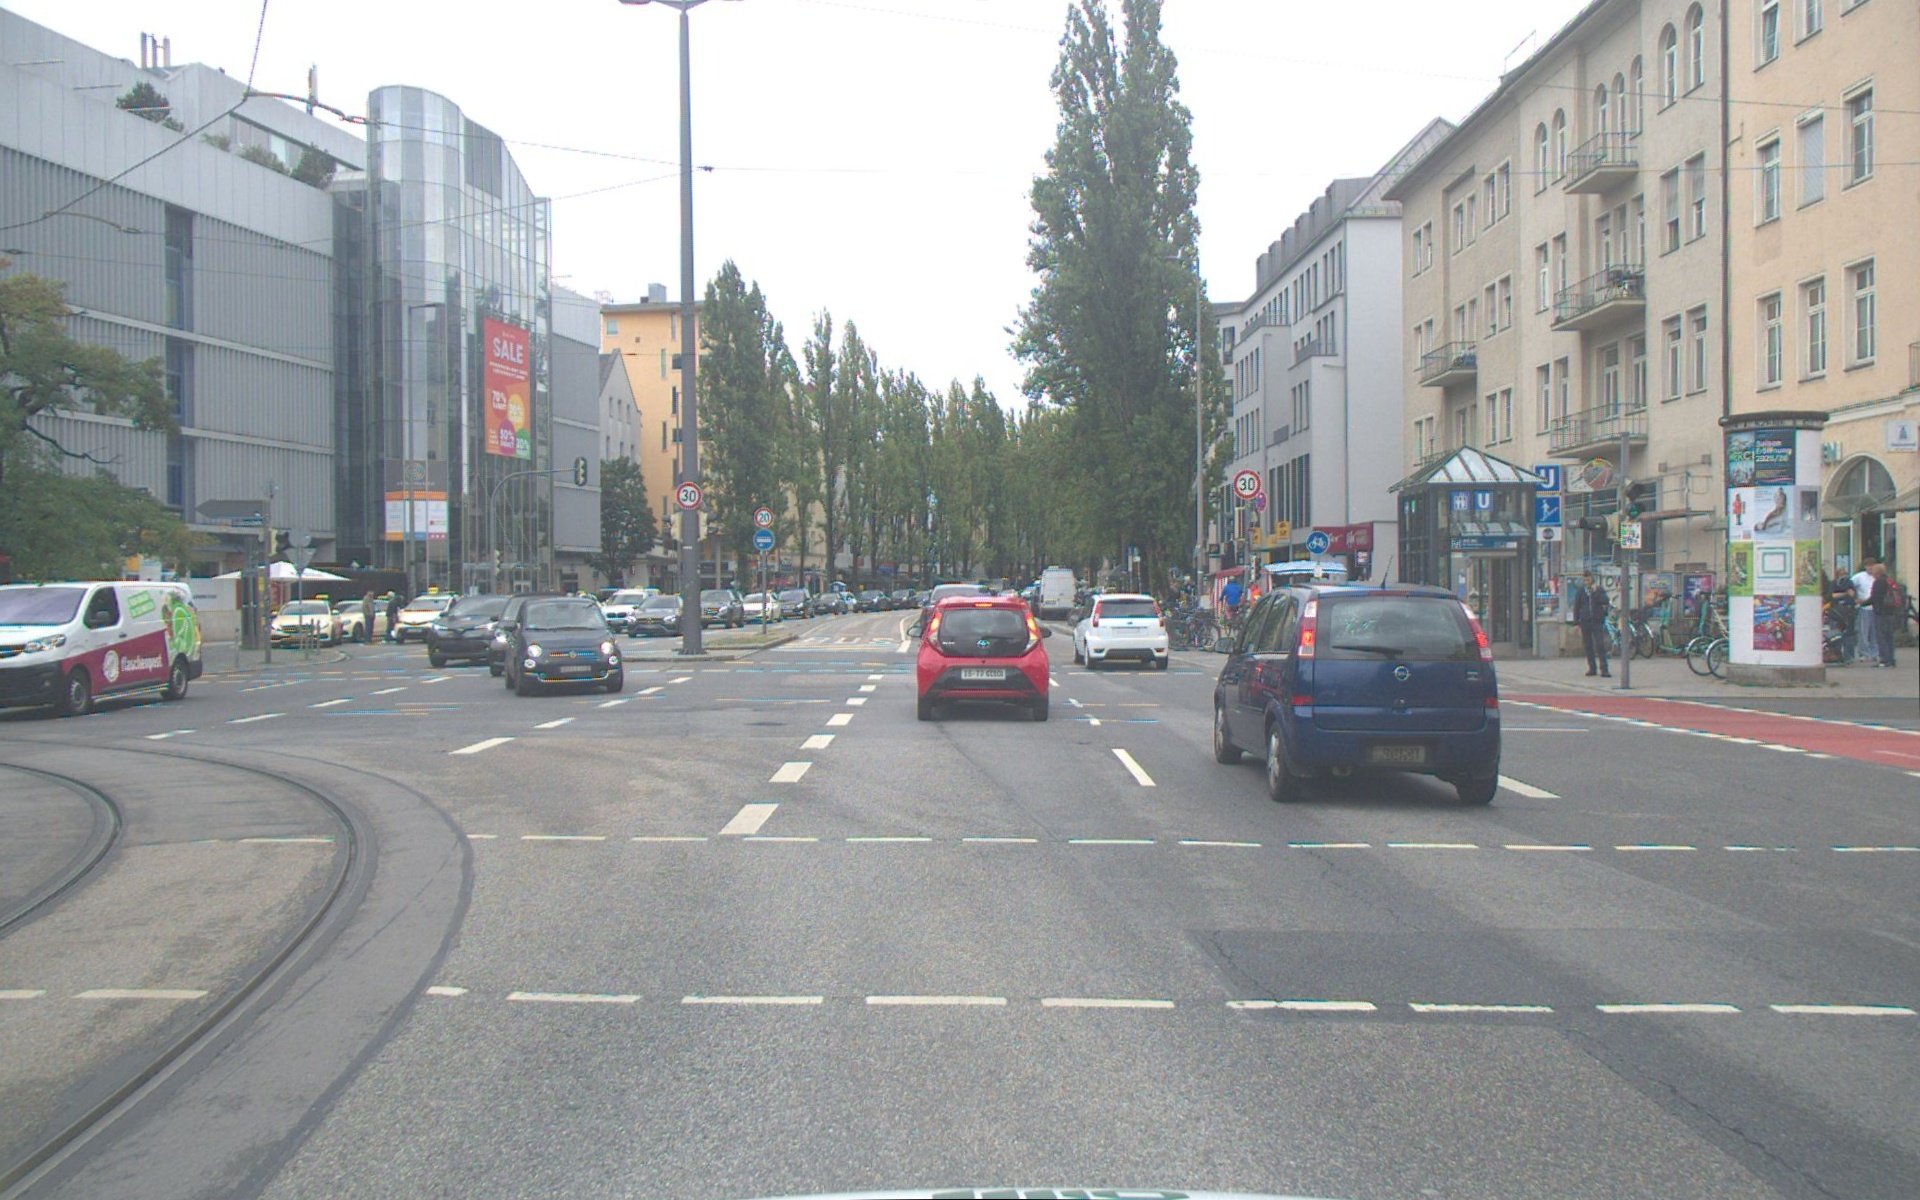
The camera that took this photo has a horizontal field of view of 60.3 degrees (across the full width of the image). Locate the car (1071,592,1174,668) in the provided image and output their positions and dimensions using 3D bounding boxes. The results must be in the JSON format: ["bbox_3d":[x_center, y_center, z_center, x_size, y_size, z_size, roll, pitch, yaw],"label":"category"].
[{"bbox_3d":[3.244,0.575,33.585,1.665,1.451,3.496,-1,0,-1],"label":"car"}]

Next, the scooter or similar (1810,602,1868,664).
[{"bbox_3d":[15.160,0.559,28.538,0.803,1.011,0.593,0,4,22],"label":"scooter or similar"}]

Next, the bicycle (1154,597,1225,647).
[{"bbox_3d":[5.774,0.549,41.627,1.773,1.219,0.555,0,1,43],"label":"bicycle"}]

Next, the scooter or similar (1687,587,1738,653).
[{"bbox_3d":[14.488,0.373,31.870,0.282,1.249,1.152,-1,0,-10],"label":"scooter or similar"}]

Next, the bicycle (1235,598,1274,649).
[{"bbox_3d":[7.906,0.612,44.511,0.601,1.287,2.519,-1,1,0],"label":"bicycle"}]

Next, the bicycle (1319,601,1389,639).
[{"bbox_3d":[10.396,0.527,43.689,1.718,0.981,0.453,-1,0,0],"label":"bicycle"}]

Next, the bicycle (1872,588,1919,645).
[{"bbox_3d":[18.772,0.314,32.505,0.485,1.108,1.864,-1,0,-6],"label":"bicycle"}]

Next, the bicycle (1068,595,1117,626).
[{"bbox_3d":[5.034,0.379,62.698,1.801,1.156,0.584,0,0,36],"label":"bicycle"}]

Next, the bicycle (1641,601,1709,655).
[{"bbox_3d":[13.852,0.525,32.085,0.484,0.992,1.866,-1,0,-1],"label":"bicycle"}]

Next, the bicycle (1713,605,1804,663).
[{"bbox_3d":[15.586,0.648,32.320,0.486,1.077,1.858,-1,0,-15],"label":"bicycle"}]

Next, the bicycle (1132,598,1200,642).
[{"bbox_3d":[5.625,0.535,45.171,1.765,1.178,0.486,0,0,29],"label":"bicycle"}]

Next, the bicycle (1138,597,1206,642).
[{"bbox_3d":[5.699,0.518,44.511,1.763,1.178,0.486,0,0,26],"label":"bicycle"}]

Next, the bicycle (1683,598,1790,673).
[{"bbox_3d":[12.943,0.587,27.587,1.536,1.180,0.525,-2,2,2],"label":"bicycle"}]

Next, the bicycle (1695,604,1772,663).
[{"bbox_3d":[14.987,0.634,32.086,0.485,1.077,1.864,-1,0,-5],"label":"bicycle"}]

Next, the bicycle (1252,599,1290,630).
[{"bbox_3d":[10.049,0.458,53.479,1.157,0.980,0.369,-1,0,-3],"label":"bicycle"}]

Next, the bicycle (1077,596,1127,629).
[{"bbox_3d":[5.133,0.455,59.773,1.805,1.156,0.583,0,1,42],"label":"bicycle"}]

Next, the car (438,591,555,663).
[{"bbox_3d":[-10.580,0.569,38.024,1.631,1.535,4.280,-1,0,-2],"label":"car"}]

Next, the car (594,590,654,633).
[{"bbox_3d":[-13.220,0.441,65.267,1.664,1.624,3.999,-1,0,-2],"label":"car"}]

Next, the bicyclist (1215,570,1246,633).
[{"bbox_3d":[8.278,0.046,50.605,0.747,1.902,1.133,-1,0,0],"label":"bicyclist"}]

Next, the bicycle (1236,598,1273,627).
[{"bbox_3d":[10.056,0.418,56.498,1.208,0.980,0.367,-1,0,-23],"label":"bicycle"}]

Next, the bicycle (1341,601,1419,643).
[{"bbox_3d":[10.381,0.546,40.885,1.801,0.981,0.508,-1,0,-2],"label":"bicycle"}]

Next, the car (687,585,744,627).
[{"bbox_3d":[-10.440,0.217,70.890,1.707,1.699,4.732,-1,1,0],"label":"car"}]

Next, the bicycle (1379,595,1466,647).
[{"bbox_3d":[10.406,0.464,37.217,1.801,1.113,0.508,-1,0,-2],"label":"bicycle"}]

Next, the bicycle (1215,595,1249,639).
[{"bbox_3d":[8.290,0.500,50.427,0.601,1.287,2.519,-1,1,0],"label":"bicycle"}]

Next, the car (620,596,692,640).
[{"bbox_3d":[-10.751,0.619,58.691,1.954,1.436,4.165,1,1,-3],"label":"car"}]

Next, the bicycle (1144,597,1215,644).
[{"bbox_3d":[5.701,0.526,43.019,1.769,1.178,0.546,0,0,38],"label":"bicycle"}]

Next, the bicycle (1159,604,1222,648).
[{"bbox_3d":[5.702,0.636,40.966,0.495,1.046,1.576,-1,1,-42],"label":"bicycle"}]

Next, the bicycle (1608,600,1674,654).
[{"bbox_3d":[13.187,0.507,32.072,0.484,0.992,1.866,-1,0,-1],"label":"bicycle"}]

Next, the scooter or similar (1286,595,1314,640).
[{"bbox_3d":[9.217,0.462,44.835,0.357,1.196,1.345,-1,0,29],"label":"scooter or similar"}]

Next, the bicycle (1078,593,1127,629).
[{"bbox_3d":[5.215,0.399,60.441,1.805,1.263,0.583,0,1,42],"label":"bicycle"}]

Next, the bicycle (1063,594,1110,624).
[{"bbox_3d":[5.009,0.362,65.427,1.801,1.156,0.584,0,0,36],"label":"bicycle"}]

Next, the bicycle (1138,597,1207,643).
[{"bbox_3d":[5.605,0.520,43.700,1.769,1.178,0.546,0,0,38],"label":"bicycle"}]

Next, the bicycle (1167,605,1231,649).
[{"bbox_3d":[5.787,0.646,40.111,0.495,1.046,1.576,-1,1,-42],"label":"bicycle"}]

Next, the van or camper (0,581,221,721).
[{"bbox_3d":[-13.094,0.673,24.680,1.889,1.858,5.438,-1,0,-3],"label":"van or camper"}]

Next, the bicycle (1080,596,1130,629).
[{"bbox_3d":[5.159,0.453,59.012,1.805,1.156,0.583,0,1,42],"label":"bicycle"}]

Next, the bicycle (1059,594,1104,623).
[{"bbox_3d":[4.907,0.350,66.893,1.801,1.156,0.584,0,0,36],"label":"bicycle"}]

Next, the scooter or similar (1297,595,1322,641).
[{"bbox_3d":[9.406,0.468,44.476,0.294,1.196,1.275,-1,0,29],"label":"scooter or similar"}]

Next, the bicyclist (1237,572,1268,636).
[{"bbox_3d":[7.885,0.109,44.634,0.601,1.686,1.251,-1,0,0],"label":"bicyclist"}]

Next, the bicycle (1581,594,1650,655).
[{"bbox_3d":[12.695,0.460,32.083,0.555,1.127,1.866,-1,0,-1],"label":"bicycle"}]

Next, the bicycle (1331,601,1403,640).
[{"bbox_3d":[10.451,0.522,42.468,1.719,0.981,0.453,-1,0,-3],"label":"bicycle"}]
